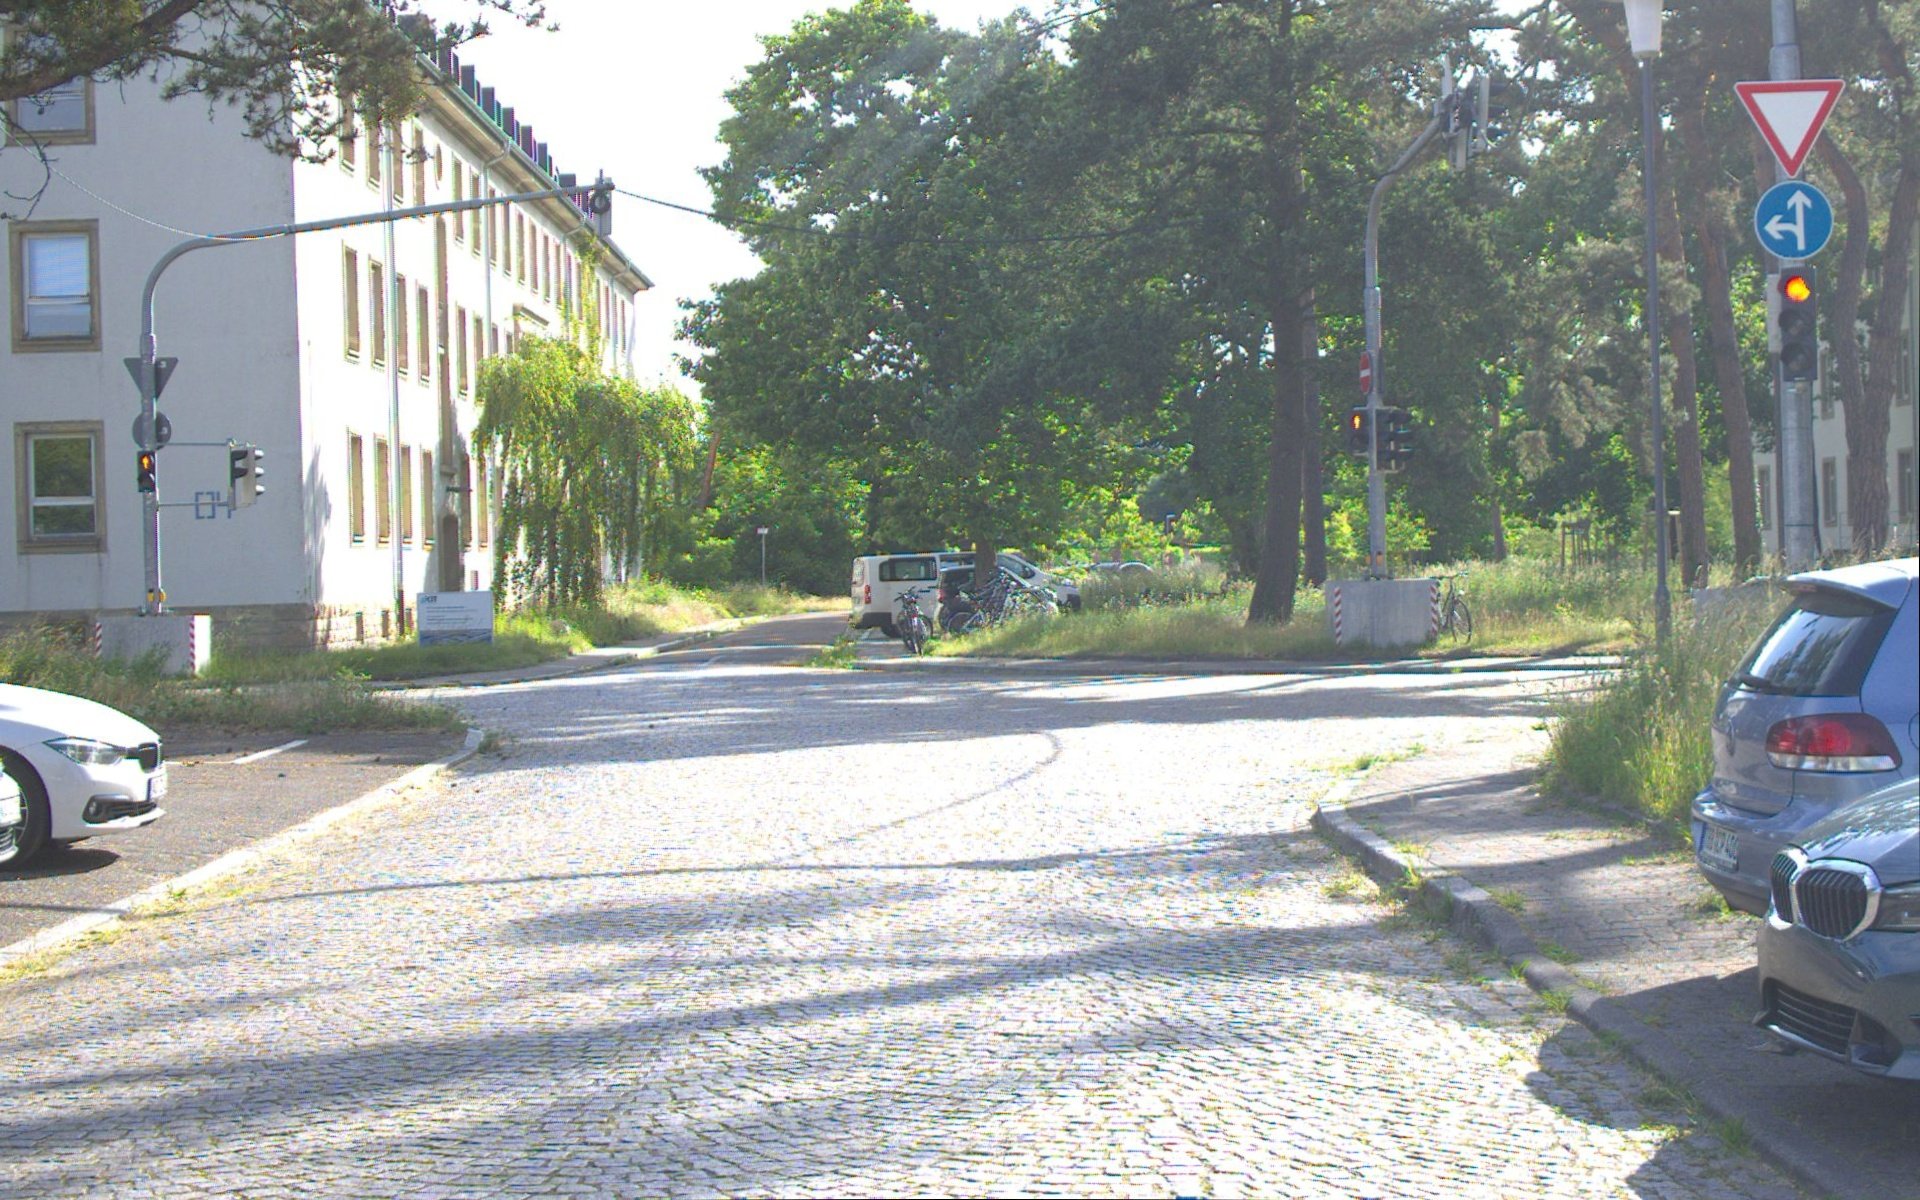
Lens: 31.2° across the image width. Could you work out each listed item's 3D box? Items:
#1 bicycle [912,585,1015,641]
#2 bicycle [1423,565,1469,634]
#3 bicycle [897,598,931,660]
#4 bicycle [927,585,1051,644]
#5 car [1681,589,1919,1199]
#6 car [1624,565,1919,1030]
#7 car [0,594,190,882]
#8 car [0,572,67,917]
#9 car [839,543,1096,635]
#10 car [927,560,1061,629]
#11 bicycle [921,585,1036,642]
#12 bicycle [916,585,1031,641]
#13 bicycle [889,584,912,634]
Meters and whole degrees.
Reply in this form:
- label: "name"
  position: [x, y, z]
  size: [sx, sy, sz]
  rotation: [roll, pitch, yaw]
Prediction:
- label: "bicycle"
  position: [0.063, 0.239, 64.082]
  size: [1.837, 1.007, 0.636]
  rotation: [1, 0, -7]
- label: "bicycle"
  position: [6.851, -0.011, 48.494]
  size: [0.300, 0.957, 1.586]
  rotation: [1, 0, -4]
- label: "bicycle"
  position: [-0.769, 0.470, 57.041]
  size: [0.467, 1.007, 1.586]
  rotation: [1, 0, -4]
- label: "bicycle"
  position: [0.507, 0.251, 60.612]
  size: [2.109, 1.007, 0.621]
  rotation: [1, 0, -7]
- label: "car"
  position: [4.357, 0.610, 8.950]
  size: [4.559, 1.410, 1.637]
  rotation: [-3, 1, 1]
- label: "car"
  position: [4.391, 0.549, 11.730]
  size: [3.882, 1.410, 1.637]
  rotation: [-3, 1, 1]
- label: "car"
  position: [-6.552, 0.700, 18.761]
  size: [4.333, 1.463, 1.831]
  rotation: [1, 1, -3]
- label: "car"
  position: [-6.525, 0.649, 16.402]
  size: [4.080, 1.588, 1.886]
  rotation: [1, 1, -3]
- label: "car"
  position: [0.170, -0.242, 78.685]
  size: [5.520, 2.007, 2.001]
  rotation: [1, 0, -18]
- label: "car"
  position: [0.728, -0.120, 75.085]
  size: [2.781, 1.462, 1.671]
  rotation: [1, 0, -4]
- label: "bicycle"
  position: [0.328, 0.245, 62.326]
  size: [2.004, 1.007, 0.632]
  rotation: [1, 0, -7]
- label: "bicycle"
  position: [0.247, 0.243, 63.208]
  size: [2.027, 1.007, 0.627]
  rotation: [1, 0, -7]
- label: "bicycle"
  position: [-1.209, 0.175, 70.271]
  size: [0.417, 1.007, 1.483]
  rotation: [1, 0, 0]
